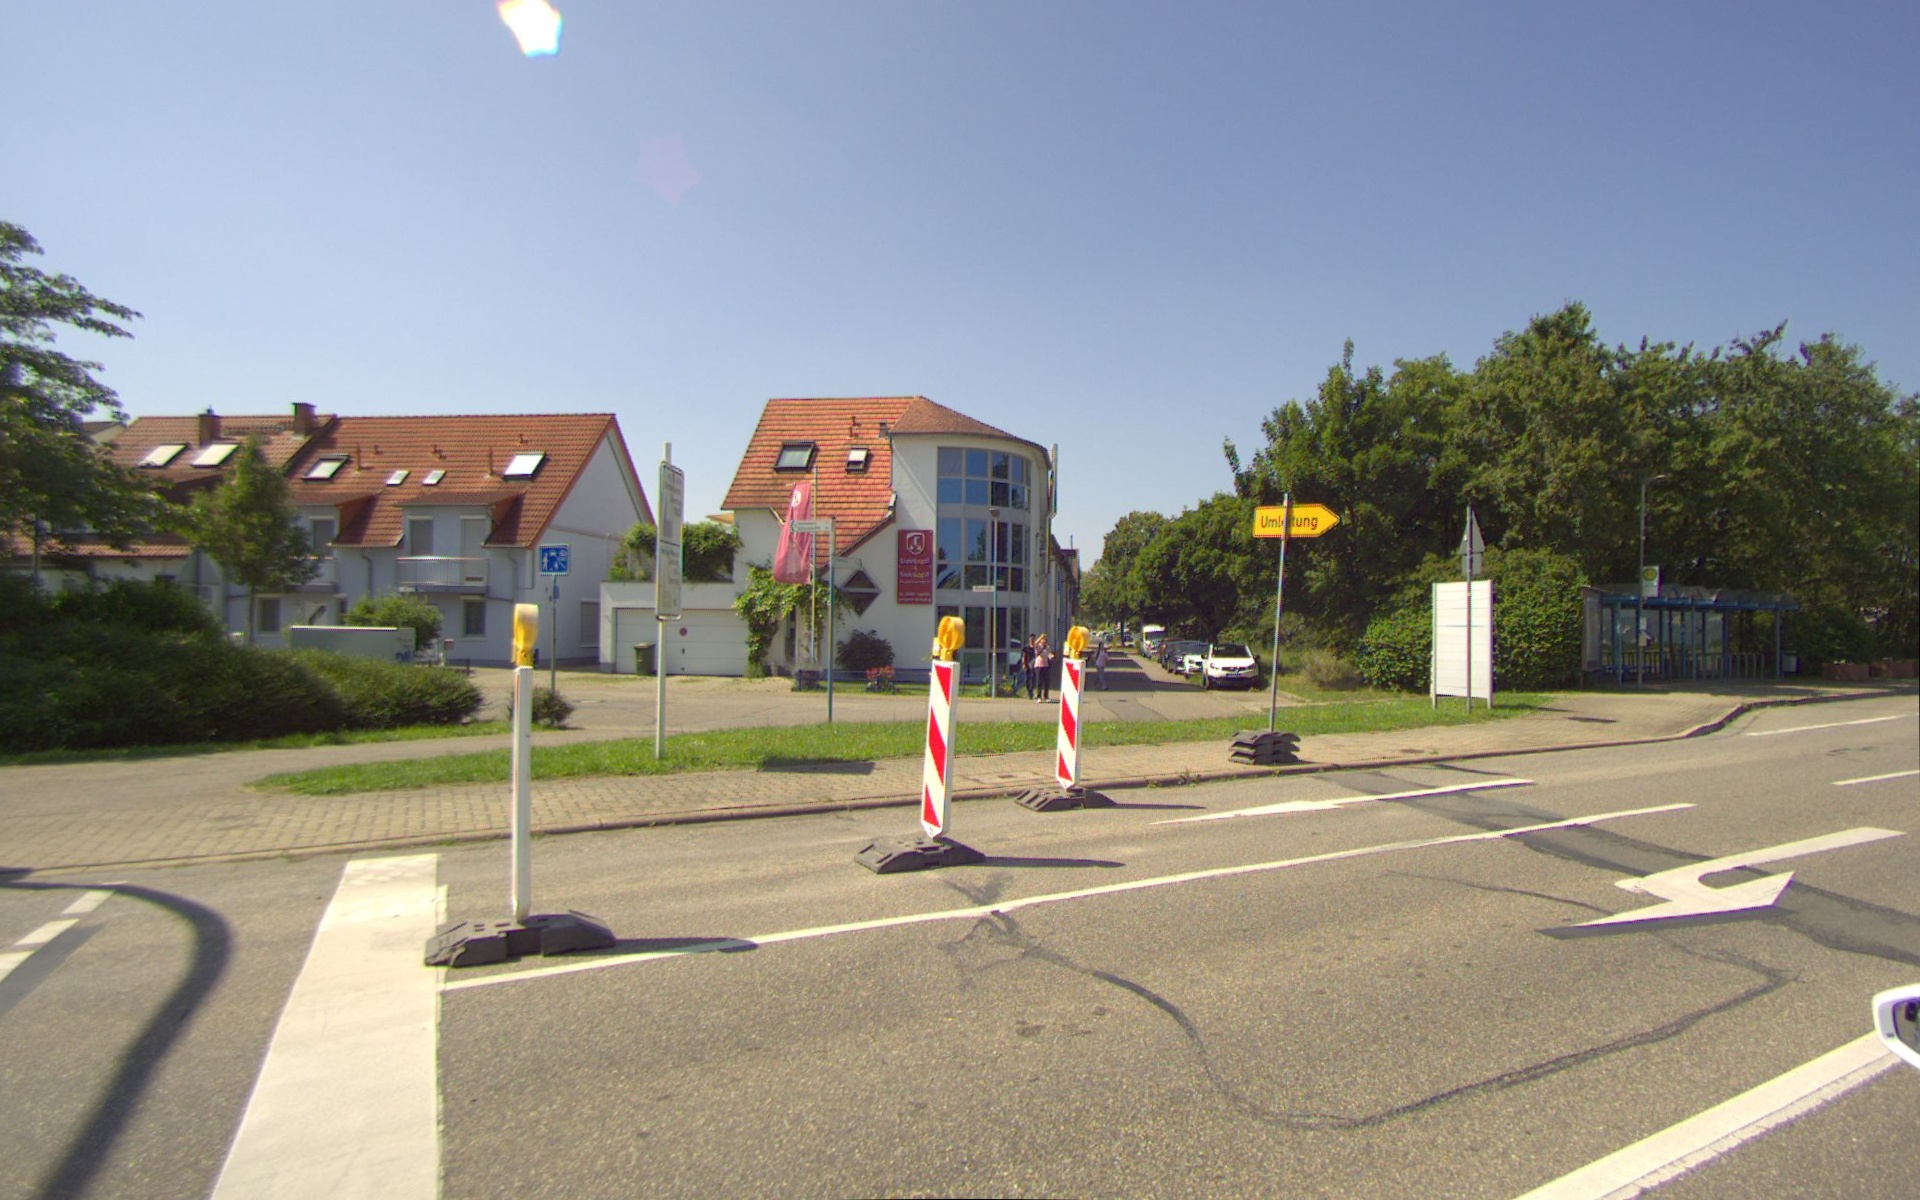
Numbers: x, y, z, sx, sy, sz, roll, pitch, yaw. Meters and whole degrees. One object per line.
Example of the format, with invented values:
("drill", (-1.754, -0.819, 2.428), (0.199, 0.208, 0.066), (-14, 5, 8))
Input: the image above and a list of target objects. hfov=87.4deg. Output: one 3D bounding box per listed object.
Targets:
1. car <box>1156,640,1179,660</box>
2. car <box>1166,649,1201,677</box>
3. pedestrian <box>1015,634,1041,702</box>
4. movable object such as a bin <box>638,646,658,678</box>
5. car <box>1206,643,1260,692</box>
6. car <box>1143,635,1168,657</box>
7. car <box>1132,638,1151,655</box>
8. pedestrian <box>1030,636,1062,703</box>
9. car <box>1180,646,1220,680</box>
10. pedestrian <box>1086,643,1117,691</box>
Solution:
("car", (13.298, 3.180, 64.451), (1.276, 1.259, 2.955), (0, -2, 15))
("car", (10.760, 3.000, 48.425), (1.423, 1.220, 3.562), (0, -1, 9))
("pedestrian", (1.891, 1.886, 27.965), (0.695, 1.846, 0.805), (1, -1, 2))
("movable object such as a bin", (-10.571, 2.097, 34.036), (0.558, 1.076, 0.396), (1, -2, -37))
("car", (9.769, 2.381, 36.123), (1.770, 1.589, 3.584), (0, -1, 14))
("car", (14.499, 3.419, 74.681), (1.659, 1.512, 3.503), (0, -1, 9))
("car", (16.899, 4.322, 93.609), (1.659, 1.512, 3.503), (0, -2, 9))
("pedestrian", (2.304, 1.853, 26.977), (0.799, 1.763, 0.960), (1, -1, 1))
("car", (10.648, 2.783, 44.652), (1.649, 1.366, 3.383), (0, -1, 12))
("pedestrian", (4.818, 2.274, 34.246), (0.905, 1.587, 0.790), (0, -1, -2))
